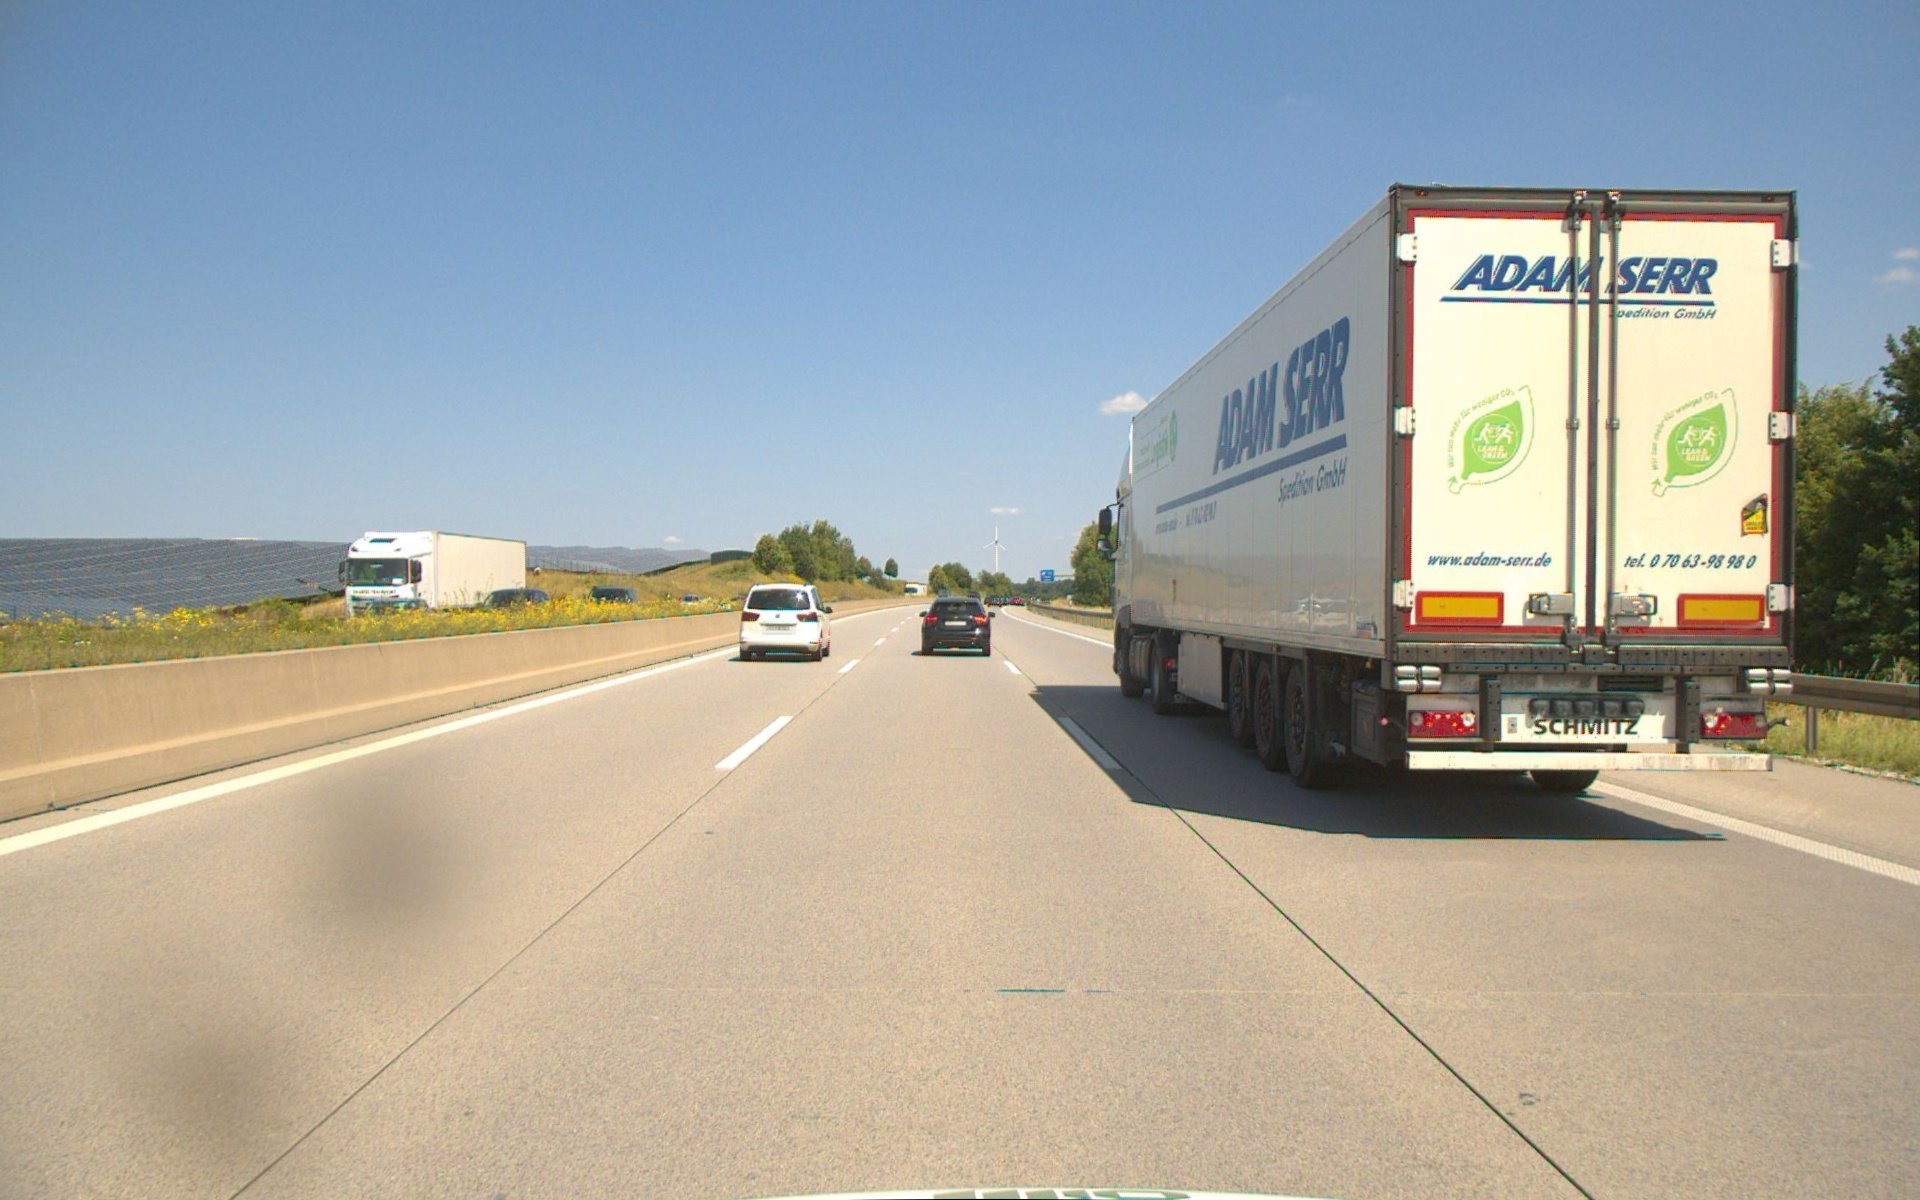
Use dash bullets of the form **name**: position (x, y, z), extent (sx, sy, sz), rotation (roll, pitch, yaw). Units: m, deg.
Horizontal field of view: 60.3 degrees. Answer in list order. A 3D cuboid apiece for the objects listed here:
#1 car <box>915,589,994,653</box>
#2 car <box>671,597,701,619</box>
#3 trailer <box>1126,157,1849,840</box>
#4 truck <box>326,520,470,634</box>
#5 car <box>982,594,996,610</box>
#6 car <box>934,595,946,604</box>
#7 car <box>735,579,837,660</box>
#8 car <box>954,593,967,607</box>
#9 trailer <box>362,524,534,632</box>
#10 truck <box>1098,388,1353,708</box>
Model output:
- **car**: position (-0.197, 0.506, 42.477), extent (1.872, 1.518, 4.190), rotation (1, 0, -2)
- **car**: position (-20.978, 0.581, 126.638), extent (1.616, 1.579, 3.968), rotation (2, 0, 0)
- **trailer**: position (3.859, -0.628, 16.416), extent (2.795, 4.113, 12.709), rotation (1, 0, -1)
- **truck**: position (-21.283, -0.813, 63.126), extent (3.027, 4.074, 7.253), rotation (1, 0, -1)
- **car**: position (3.740, 0.253, 213.988), extent (1.789, 1.940, 4.000), rotation (1, 0, 1)
- **car**: position (-2.888, -0.061, 237.035), extent (1.622, 1.217, 3.959), rotation (3, 0, -1)
- **car**: position (-3.988, 0.435, 38.875), extent (1.808, 1.738, 6.035), rotation (1, 0, -1)
- **car**: position (0.118, 0.032, 236.384), extent (1.789, 1.971, 3.809), rotation (0, 0, 0)
- **trailer**: position (-21.374, -0.799, 70.270), extent (3.027, 4.074, 14.137), rotation (1, 0, -1)
- **truck**: position (3.730, -0.688, 24.619), extent (2.755, 4.159, 5.797), rotation (1, 0, -1)
